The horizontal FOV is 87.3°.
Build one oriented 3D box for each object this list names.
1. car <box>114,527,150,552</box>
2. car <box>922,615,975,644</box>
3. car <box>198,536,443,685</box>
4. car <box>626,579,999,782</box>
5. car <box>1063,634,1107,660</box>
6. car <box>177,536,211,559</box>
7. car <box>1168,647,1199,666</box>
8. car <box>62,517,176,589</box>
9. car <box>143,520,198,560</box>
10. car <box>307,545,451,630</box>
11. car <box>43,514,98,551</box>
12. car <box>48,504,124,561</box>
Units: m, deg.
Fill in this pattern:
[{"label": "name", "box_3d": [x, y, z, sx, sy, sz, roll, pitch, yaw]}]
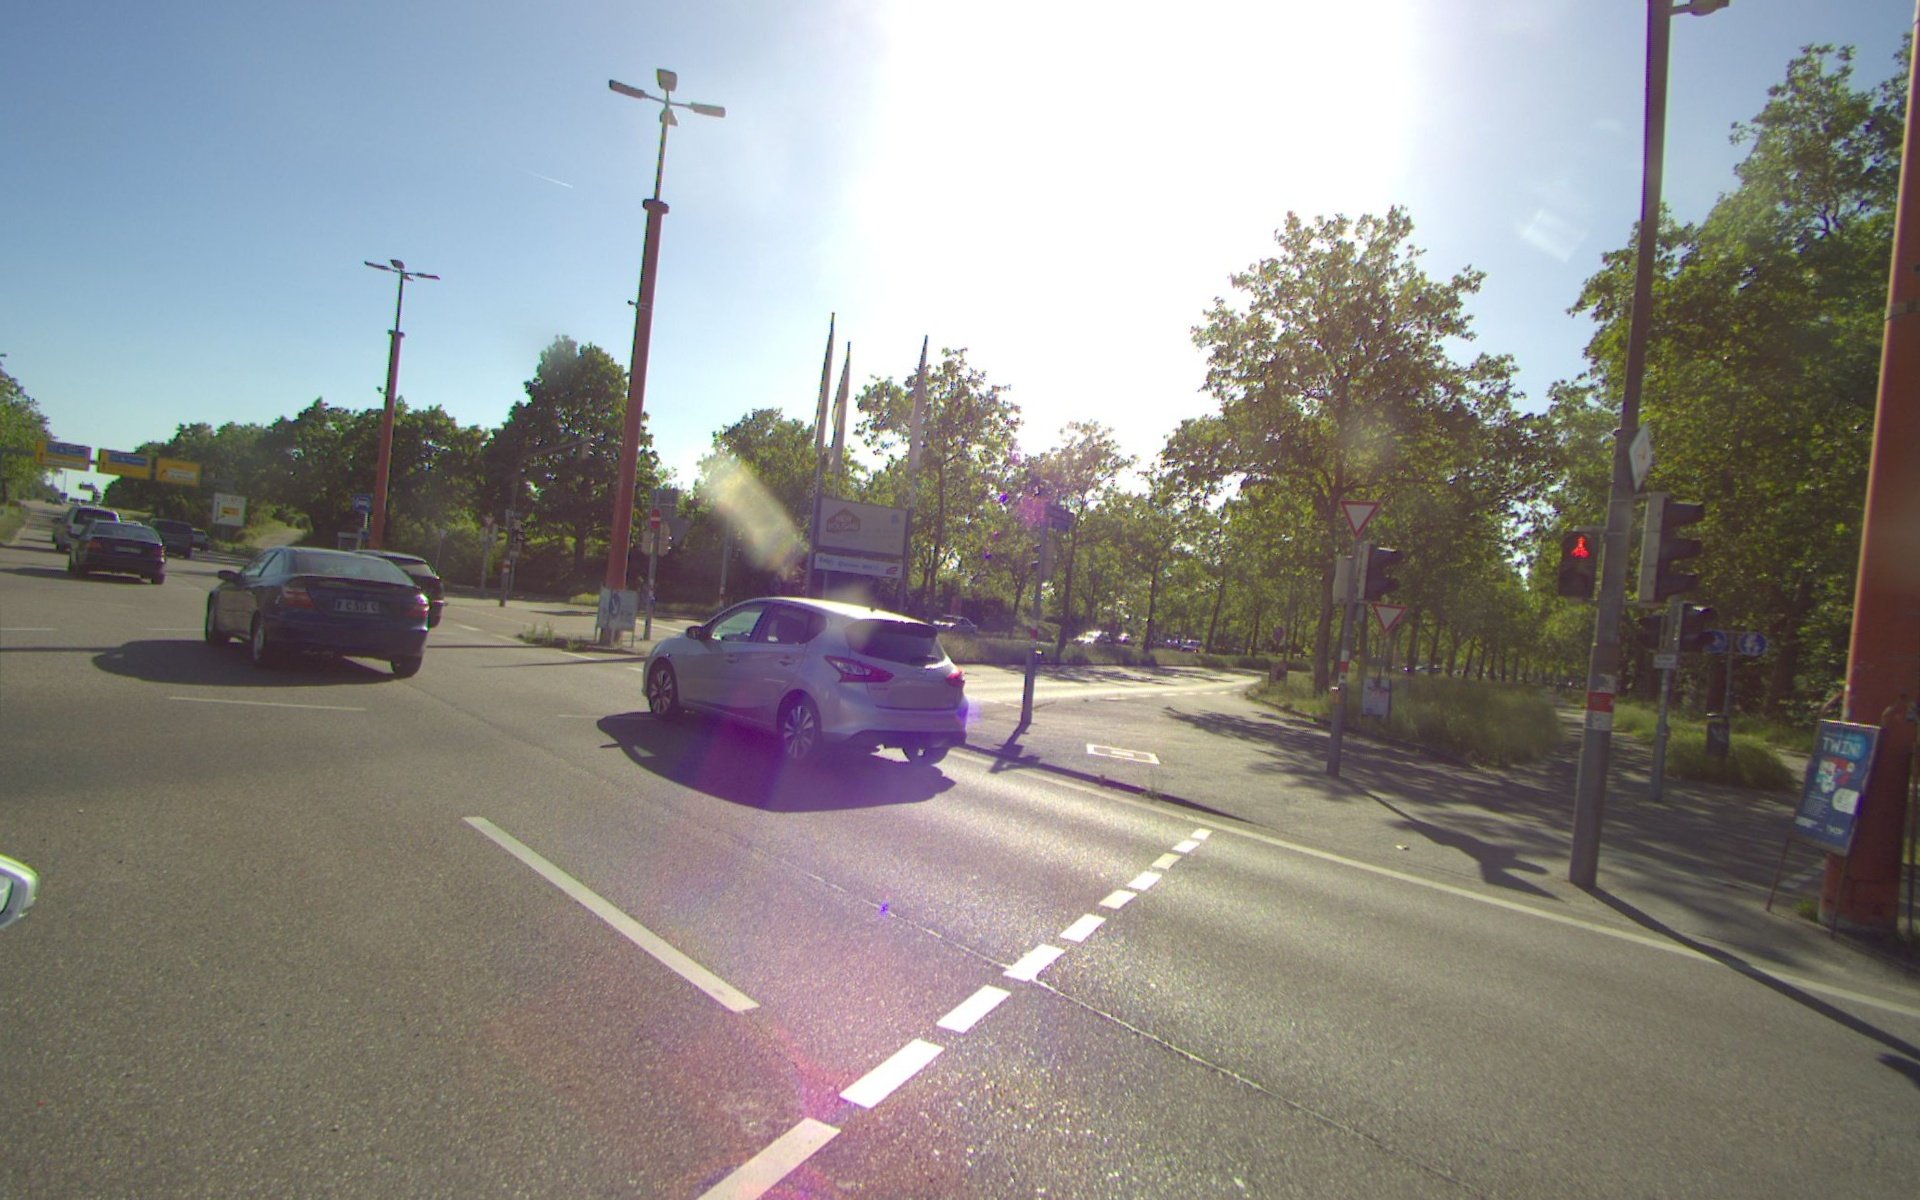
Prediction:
[{"label": "car", "box_3d": [-62.888, -4.608, 76.407, 1.712, 1.626, 3.800, 9, -3, -44]}, {"label": "car", "box_3d": [-0.745, 1.987, 67.258, 1.833, 1.534, 4.138, 6, -2, 24]}, {"label": "car", "box_3d": [-8.097, 0.068, 12.585, 1.714, 1.437, 4.000, 7, -1, -44]}, {"label": "car", "box_3d": [-1.721, 0.760, 10.664, 1.717, 1.535, 4.086, 9, -2, -44]}, {"label": "car", "box_3d": [9.405, 3.522, 75.327, 1.743, 1.525, 4.223, 6, -2, 28]}, {"label": "car", "box_3d": [-59.166, -4.056, 77.698, 1.591, 1.508, 3.636, 9, -3, -44]}, {"label": "car", "box_3d": [22.106, 5.590, 99.311, 1.743, 1.525, 4.223, 6, -3, 29]}, {"label": "car", "box_3d": [-21.400, -1.225, 25.534, 4.143, 1.472, 1.709, 6, -1, 44]}, {"label": "car", "box_3d": [-43.075, -3.286, 54.828, 1.798, 1.875, 5.041, 6, 0, -43]}, {"label": "car", "box_3d": [-13.166, -0.323, 22.685, 1.763, 1.525, 4.175, 9, -3, -43]}, {"label": "car", "box_3d": [-44.149, -3.336, 49.883, 1.800, 1.510, 4.626, 9, -3, -43]}, {"label": "car", "box_3d": [-34.216, -2.641, 39.326, 4.529, 1.842, 1.800, 5, -2, 45]}]
